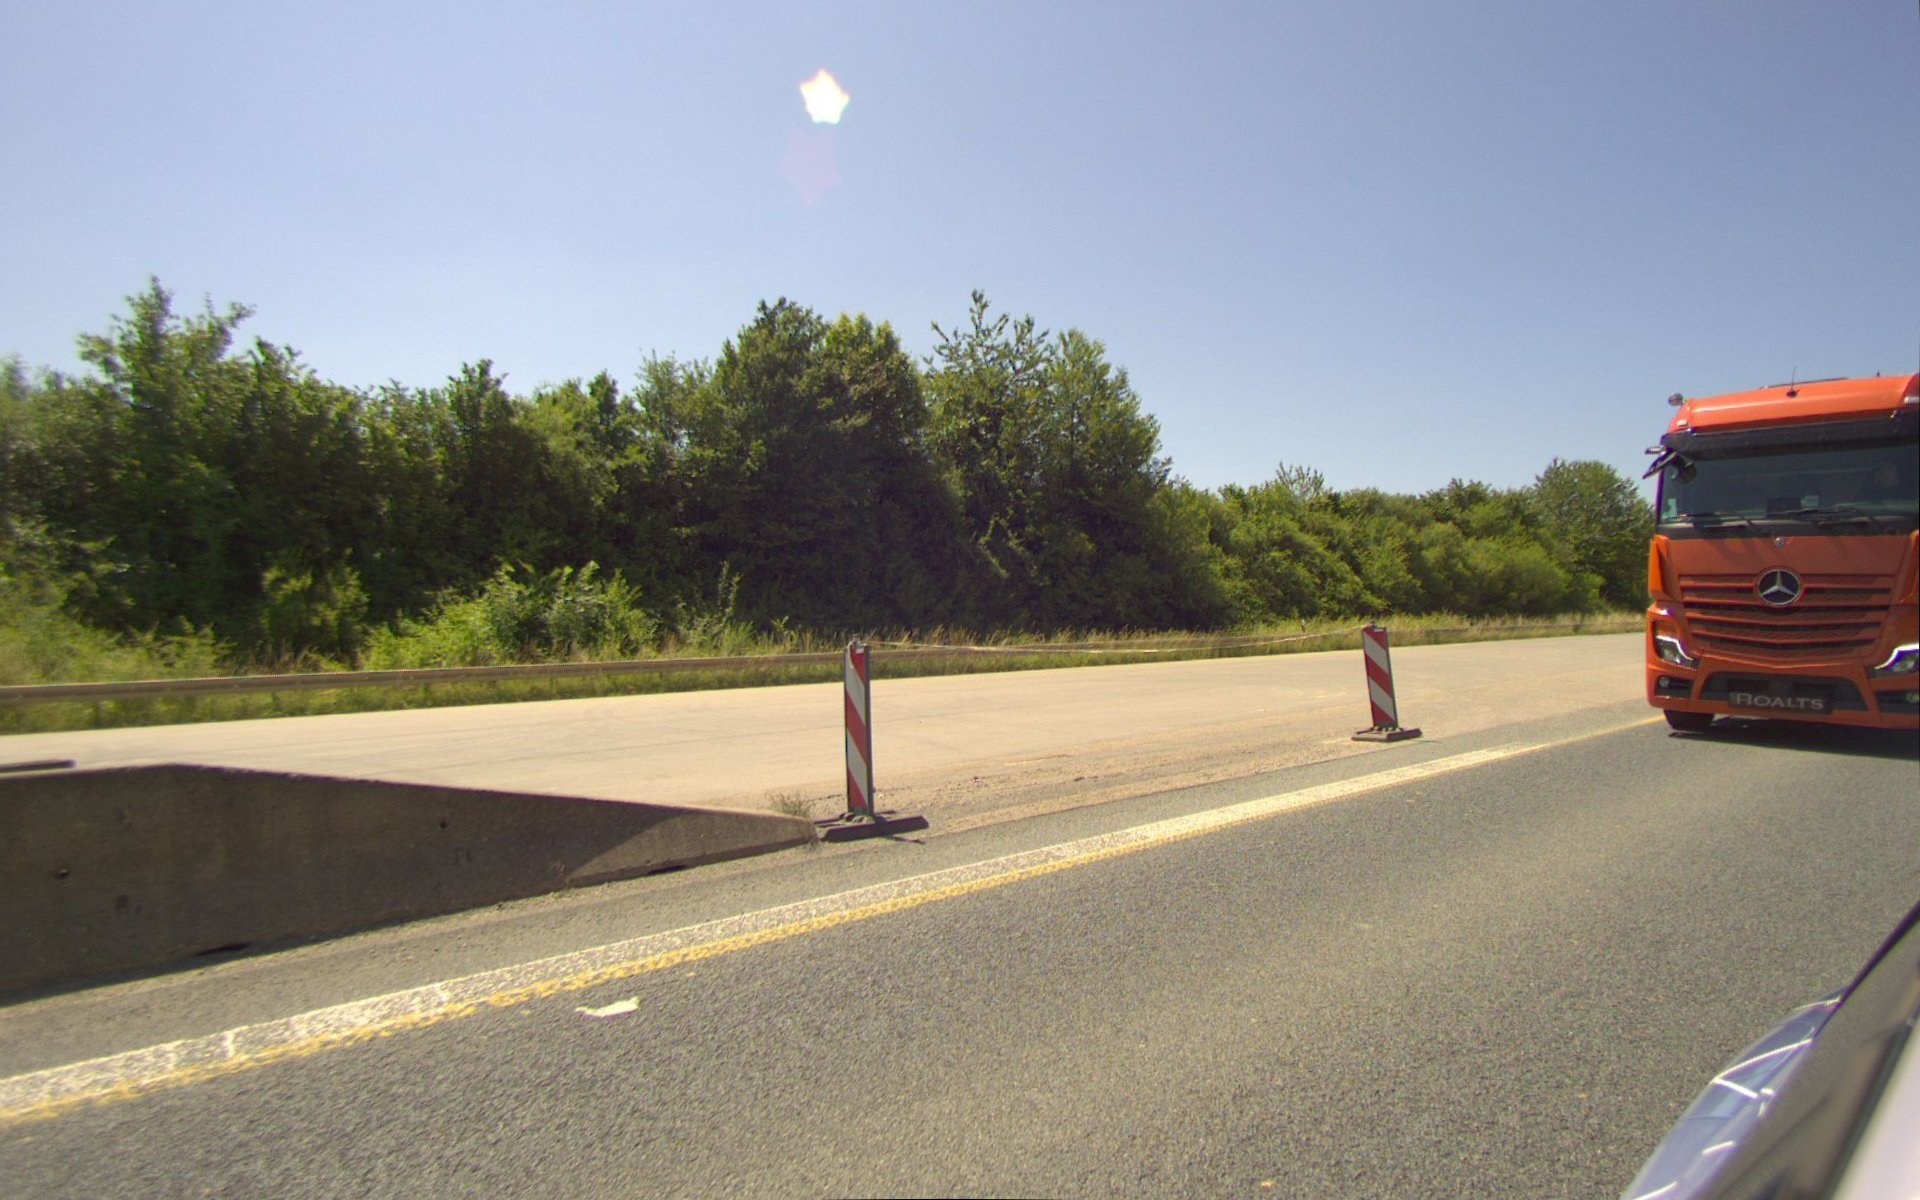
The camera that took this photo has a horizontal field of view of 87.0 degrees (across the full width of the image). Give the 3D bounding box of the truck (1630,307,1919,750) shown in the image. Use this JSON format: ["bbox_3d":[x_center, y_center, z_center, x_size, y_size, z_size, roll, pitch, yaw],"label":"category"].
[{"bbox_3d":[10.694,-0.667,12.159,6.606,4.061,2.687,0,0,-40],"label":"truck"}]

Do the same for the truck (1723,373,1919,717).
[{"bbox_3d":[15.921,-0.735,16.621,12.987,4.060,2.687,-1,0,-41],"label":"truck"}]
